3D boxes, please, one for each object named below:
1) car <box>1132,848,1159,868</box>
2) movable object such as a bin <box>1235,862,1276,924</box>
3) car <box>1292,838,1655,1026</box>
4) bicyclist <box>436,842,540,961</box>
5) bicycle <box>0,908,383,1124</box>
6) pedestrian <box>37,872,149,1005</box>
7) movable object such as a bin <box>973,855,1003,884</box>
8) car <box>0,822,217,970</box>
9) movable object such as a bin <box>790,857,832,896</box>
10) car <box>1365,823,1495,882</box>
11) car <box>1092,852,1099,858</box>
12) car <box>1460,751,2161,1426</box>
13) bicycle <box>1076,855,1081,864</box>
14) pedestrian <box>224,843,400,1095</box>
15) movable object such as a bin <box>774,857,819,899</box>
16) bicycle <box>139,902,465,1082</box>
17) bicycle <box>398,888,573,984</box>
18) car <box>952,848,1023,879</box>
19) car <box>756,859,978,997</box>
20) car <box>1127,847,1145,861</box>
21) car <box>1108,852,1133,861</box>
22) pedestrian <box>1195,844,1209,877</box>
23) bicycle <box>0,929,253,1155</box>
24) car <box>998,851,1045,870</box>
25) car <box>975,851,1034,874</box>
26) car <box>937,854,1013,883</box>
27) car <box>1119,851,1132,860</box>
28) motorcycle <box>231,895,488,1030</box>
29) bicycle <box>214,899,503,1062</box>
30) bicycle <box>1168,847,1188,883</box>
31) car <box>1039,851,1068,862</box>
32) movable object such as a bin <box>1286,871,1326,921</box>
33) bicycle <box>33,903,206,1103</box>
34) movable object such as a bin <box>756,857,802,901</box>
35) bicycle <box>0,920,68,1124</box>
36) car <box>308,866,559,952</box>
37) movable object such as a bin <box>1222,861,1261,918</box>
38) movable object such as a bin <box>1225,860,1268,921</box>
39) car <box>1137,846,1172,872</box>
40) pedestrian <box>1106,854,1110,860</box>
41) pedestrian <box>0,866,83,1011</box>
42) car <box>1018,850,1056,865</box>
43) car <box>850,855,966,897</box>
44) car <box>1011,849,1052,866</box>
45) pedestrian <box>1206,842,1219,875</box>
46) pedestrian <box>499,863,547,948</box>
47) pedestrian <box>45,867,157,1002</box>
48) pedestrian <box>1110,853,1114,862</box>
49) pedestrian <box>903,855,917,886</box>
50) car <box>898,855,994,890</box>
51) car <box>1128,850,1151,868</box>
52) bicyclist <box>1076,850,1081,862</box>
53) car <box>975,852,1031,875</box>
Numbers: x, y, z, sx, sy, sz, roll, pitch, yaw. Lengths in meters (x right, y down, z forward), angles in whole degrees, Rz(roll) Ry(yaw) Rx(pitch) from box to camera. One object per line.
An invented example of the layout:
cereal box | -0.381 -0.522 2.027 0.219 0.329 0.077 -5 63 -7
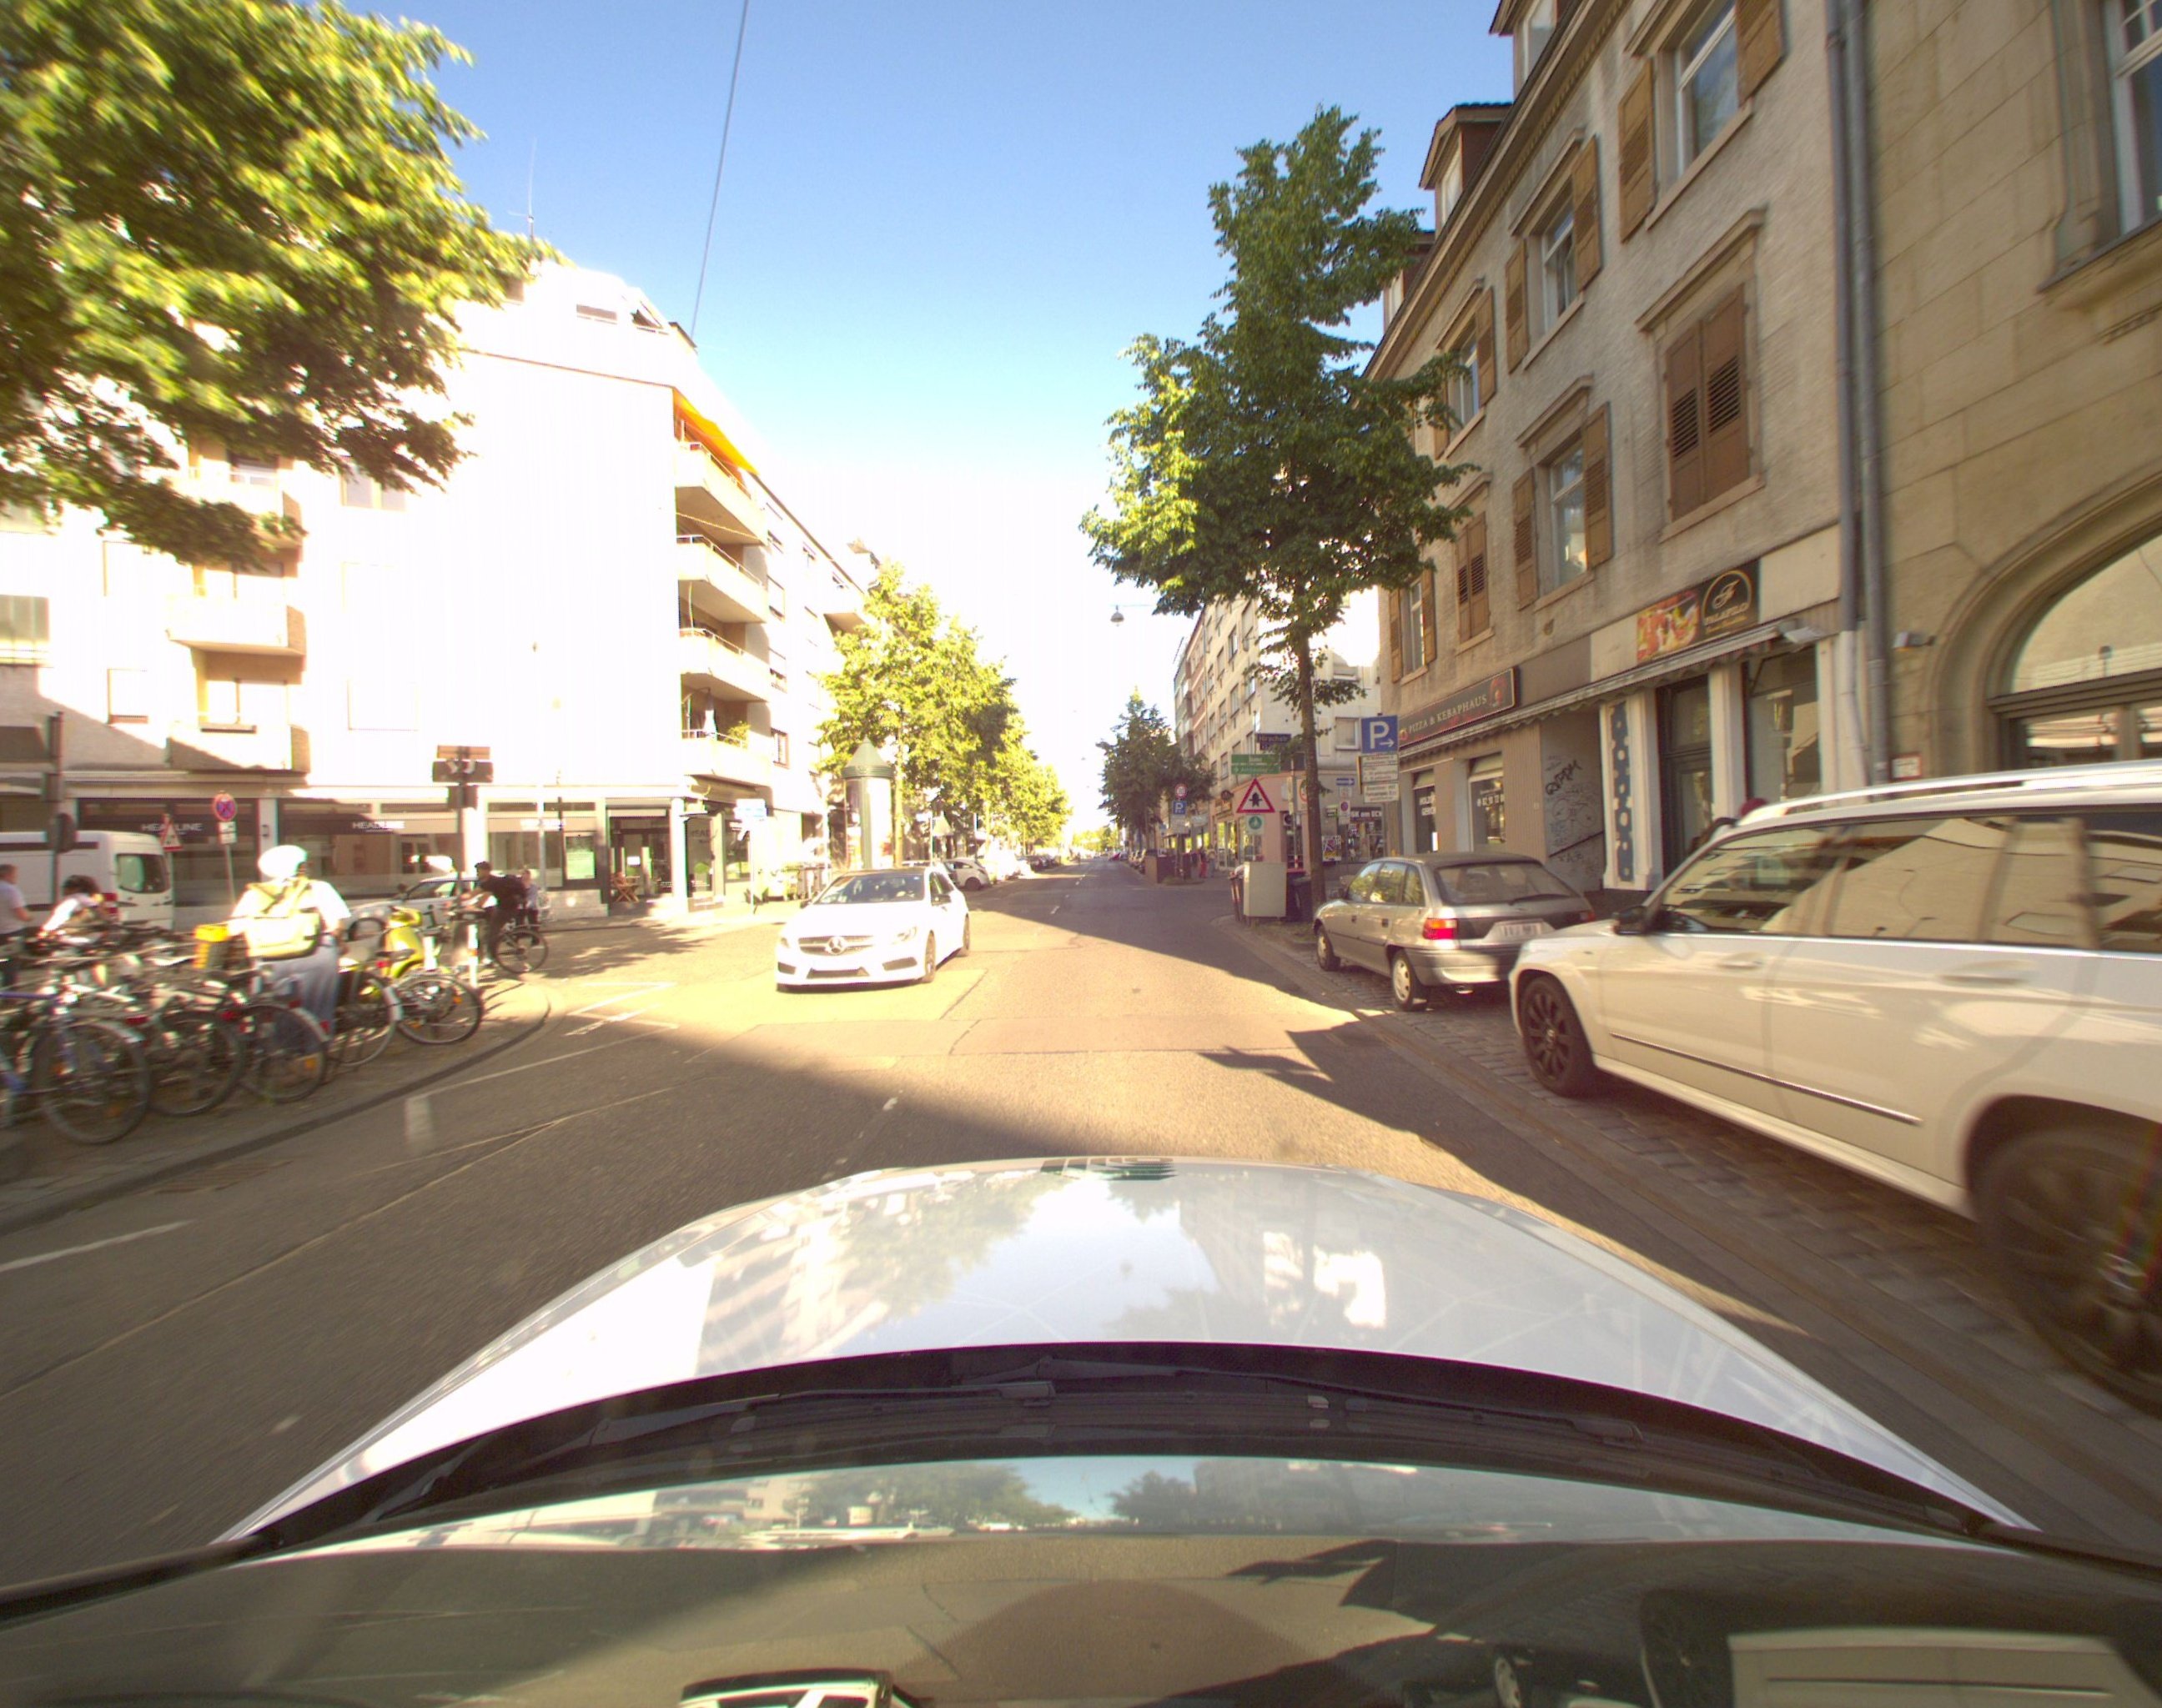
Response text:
car | 5.385 0.318 68.377 1.986 1.609 4.001 -2 0 1
movable object such as a bin | 3.475 0.773 16.296 0.619 1.179 0.711 -2 0 -1
car | 3.765 0.630 8.807 1.816 1.391 4.301 -5 0 1
bicyclist | -8.962 0.689 12.363 1.161 1.693 0.714 -2 0 -32
bicycle | -5.908 1.029 5.432 1.852 1.252 0.599 -1 0 -6
pedestrian | -12.983 1.089 10.711 0.650 1.667 0.658 -2 0 12
movable object such as a bin | -5.015 0.836 44.051 1.330 1.478 1.480 -2 0 1
car | -22.125 0.876 15.886 6.508 2.718 2.885 -3 0 -24
movable object such as a bin | -10.721 0.879 32.335 1.168 1.485 1.314 -2 0 -1
car | 13.433 -0.089 31.328 4.705 2.013 1.983 -3 0 -26
car | 4.116 0.218 228.942 1.786 1.411 4.001 -2 0 1
car | 3.592 0.513 3.488 1.815 1.679 4.603 -5 0 2
bicycle | -0.334 0.685 105.831 0.558 1.180 1.629 -1 -1 1
pedestrian | -5.696 0.784 6.094 0.797 1.707 0.759 -1 0 -32
movable object such as a bin | -10.704 0.888 30.705 1.168 1.485 1.314 -2 0 -1
bicycle | -6.089 1.049 6.449 1.852 1.252 0.599 -1 0 -6
bicycle | -8.948 1.194 12.360 2.043 1.220 0.714 -2 0 -32
car | -5.730 0.590 50.302 3.967 1.694 2.004 -2 0 6
car | -2.640 0.828 11.176 1.796 1.435 4.410 -1 0 1
car | 6.854 -0.026 101.346 1.986 1.609 4.001 -2 0 1
car | 7.093 0.479 145.487 4.015 1.442 1.979 -1 -1 -33
pedestrian | 6.109 0.327 41.122 0.545 1.649 0.665 -2 0 1
bicycle | -6.156 1.077 4.763 1.852 1.170 0.599 -1 0 -6
car | -5.291 0.542 73.073 3.974 1.500 2.000 -2 0 0
car | -5.520 0.611 59.119 3.974 1.500 2.000 -2 0 0
car | -6.157 0.819 47.509 3.967 1.457 1.871 -2 0 6
car | 7.384 0.267 136.374 1.986 1.508 4.001 -1 -1 1
motorcycle | -7.454 1.087 8.510 1.853 1.229 0.754 -1 0 -10
bicycle | -6.221 1.062 7.093 1.852 1.252 0.599 -1 0 -6
bicycle | 4.198 0.452 35.340 0.559 1.441 1.629 -8 0 1
car | -3.936 0.336 118.038 3.974 1.500 2.000 -2 0 0
movable object such as a bin | 4.287 0.790 15.523 0.561 0.896 0.628 -2 0 -1
bicycle | -7.441 1.059 6.382 0.603 1.252 1.772 -1 0 -41
movable object such as a bin | -10.818 0.876 29.250 1.136 1.485 1.235 -2 0 -1
bicycle | -7.651 1.081 5.285 1.775 1.252 0.602 -1 0 12
car | -14.604 1.176 18.697 4.000 1.610 1.987 -3 0 -20
movable object such as a bin | 3.515 0.771 17.876 0.657 1.179 0.739 -2 0 -1
movable object such as a bin | 3.476 0.761 17.134 0.703 1.222 0.680 -2 0 -1
car | 4.923 0.331 55.003 1.986 1.609 4.001 -2 0 1
pedestrian | 4.274 0.499 129.207 0.544 1.026 0.546 -3 0 -1
pedestrian | -13.351 1.048 10.269 0.655 1.760 0.653 -2 0 -17
car | -4.830 0.416 90.089 3.974 1.500 2.000 -2 0 0
car | -6.640 0.815 31.609 3.974 1.390 2.000 -2 0 0
car | -5.081 0.369 83.845 3.974 1.500 2.000 -2 0 0
pedestrian | 6.698 0.239 41.538 0.545 1.649 0.665 -2 0 1
pedestrian | -11.323 1.016 16.523 0.693 1.643 0.764 -2 0 -39
pedestrian | -13.495 1.081 11.236 0.653 1.760 0.656 -2 0 -7
pedestrian | 4.945 0.541 129.692 0.544 1.472 0.546 -3 0 -1
pedestrian | -9.375 0.906 44.730 0.544 1.649 0.665 -2 0 3
car | -6.140 0.816 37.390 3.974 1.390 2.000 -2 0 0
car | 5.784 0.462 81.015 1.986 1.609 4.001 -2 0 1
bicyclist | -0.326 0.282 105.850 0.558 1.548 0.728 -1 -1 1
car | -5.844 0.720 61.630 3.974 1.500 2.000 -2 -1 0
